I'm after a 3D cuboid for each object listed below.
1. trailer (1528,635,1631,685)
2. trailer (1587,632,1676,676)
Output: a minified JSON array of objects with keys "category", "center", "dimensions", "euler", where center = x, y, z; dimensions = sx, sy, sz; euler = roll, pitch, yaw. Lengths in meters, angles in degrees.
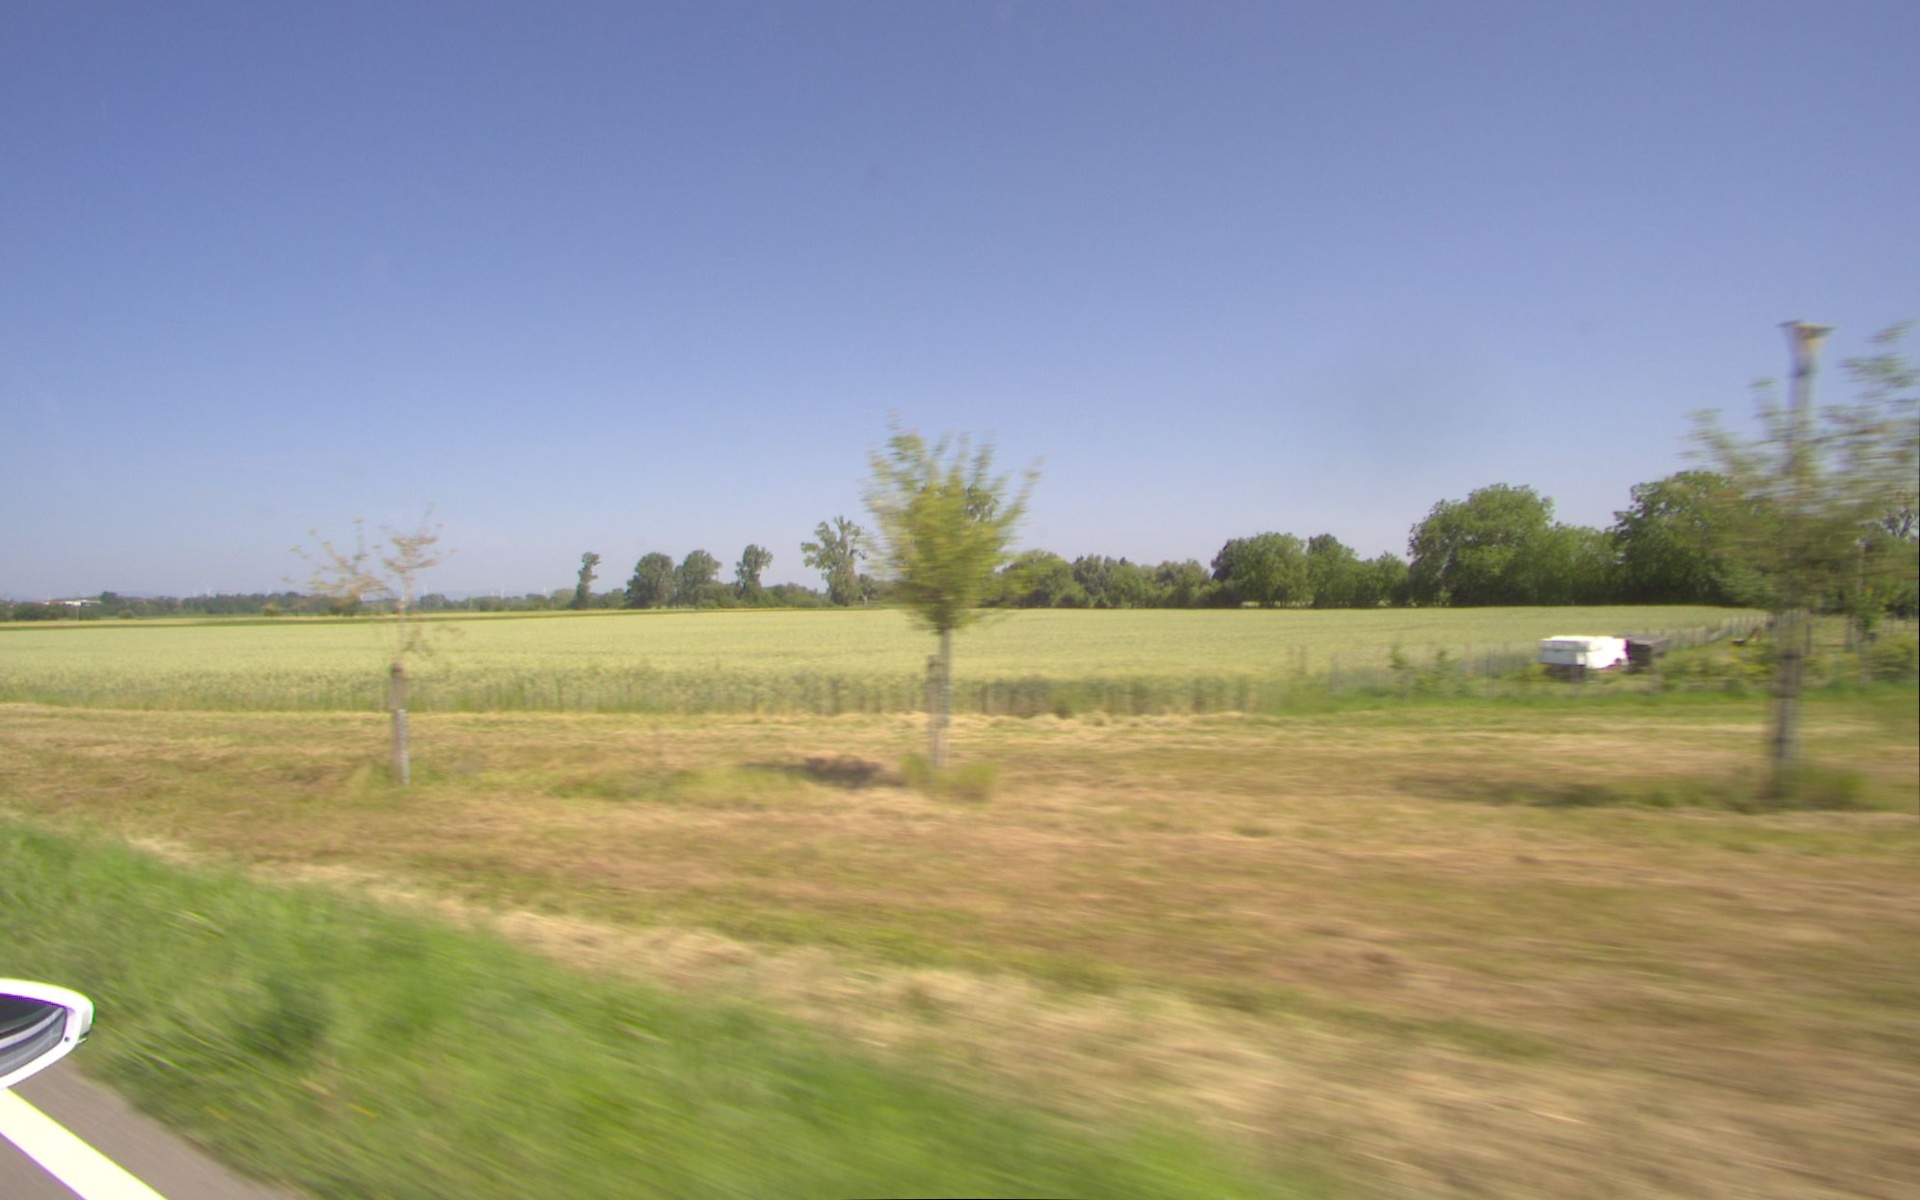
[{"category":"trailer","center":[16.458,1.541,26.528],"dimensions":[1.646,1.204,3.566],"euler":[-1,-2,43]},{"category":"trailer","center":[20.000,1.562,29.790],"dimensions":[1.646,1.205,3.518],"euler":[-1,-1,43]}]
